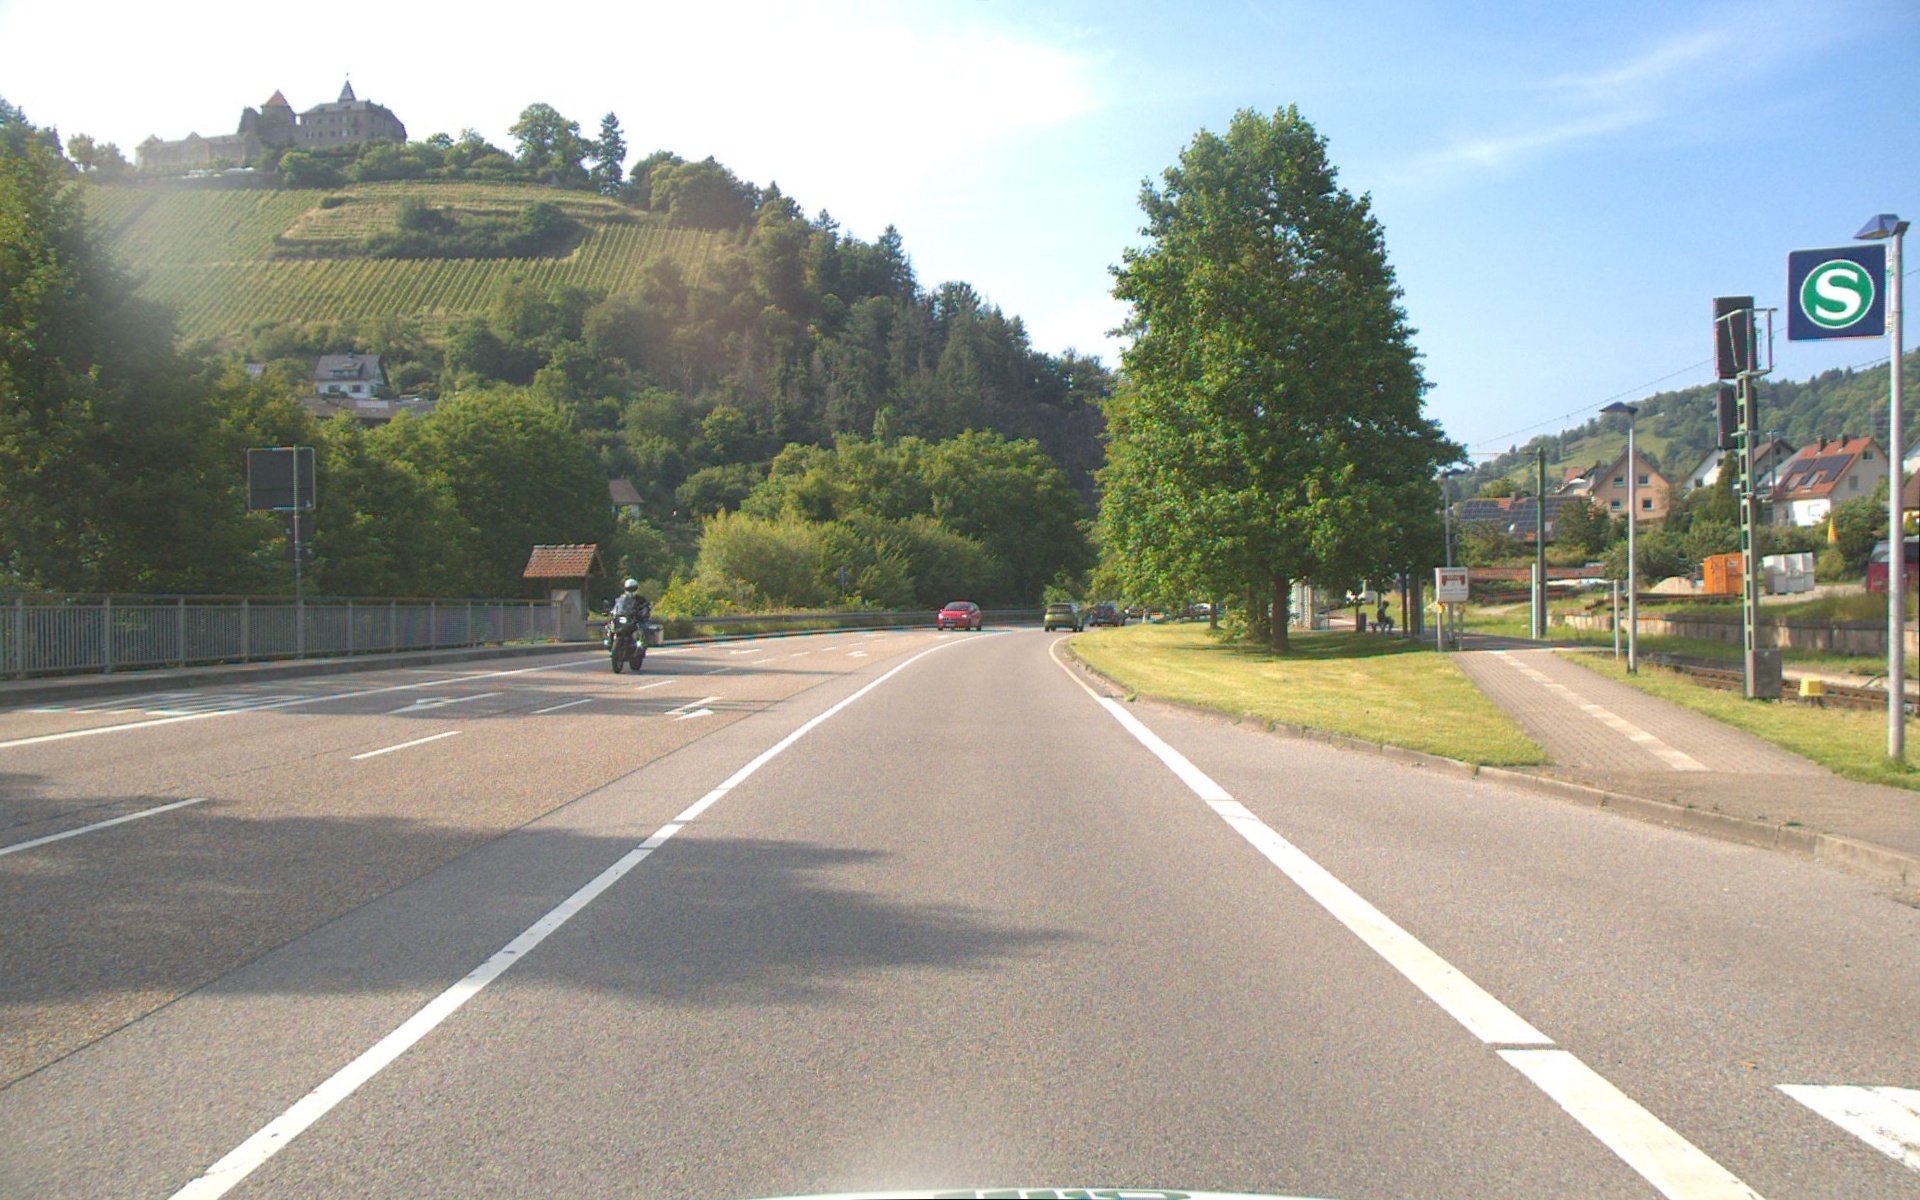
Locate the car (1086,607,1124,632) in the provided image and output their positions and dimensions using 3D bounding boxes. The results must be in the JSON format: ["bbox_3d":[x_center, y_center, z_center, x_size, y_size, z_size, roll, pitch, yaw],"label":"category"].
[{"bbox_3d":[9.273,1.246,105.725,1.801,1.485,3.716,-3,0,14],"label":"car"}]

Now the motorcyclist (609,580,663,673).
[{"bbox_3d":[-6.487,0.518,33.194,0.827,1.815,1.172,0,0,1],"label":"motorcyclist"}]

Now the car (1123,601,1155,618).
[{"bbox_3d":[15.119,0.783,139.677,1.659,1.426,4.202,0,0,21],"label":"car"}]

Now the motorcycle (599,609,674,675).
[{"bbox_3d":[-6.454,0.819,33.170,0.952,1.242,2.572,0,0,1],"label":"motorcycle"}]

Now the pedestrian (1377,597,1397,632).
[{"bbox_3d":[14.743,0.510,57.112,0.622,1.181,0.727,-2,0,14],"label":"pedestrian"}]

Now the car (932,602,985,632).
[{"bbox_3d":[-0.036,0.880,87.121,1.640,1.485,4.204,0,0,17],"label":"car"}]

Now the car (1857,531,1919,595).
[{"bbox_3d":[27.777,-1.034,45.755,4.846,1.720,1.937,-1,0,5],"label":"car"}]

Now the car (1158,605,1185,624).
[{"bbox_3d":[18.113,1.264,141.435,1.768,1.478,3.650,-3,0,16],"label":"car"}]

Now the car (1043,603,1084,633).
[{"bbox_3d":[5.463,0.921,87.065,1.691,1.482,3.413,-3,0,11],"label":"car"}]

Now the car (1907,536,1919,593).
[{"bbox_3d":[27.591,-0.971,42.964,4.846,1.494,1.897,-1,0,5],"label":"car"}]
